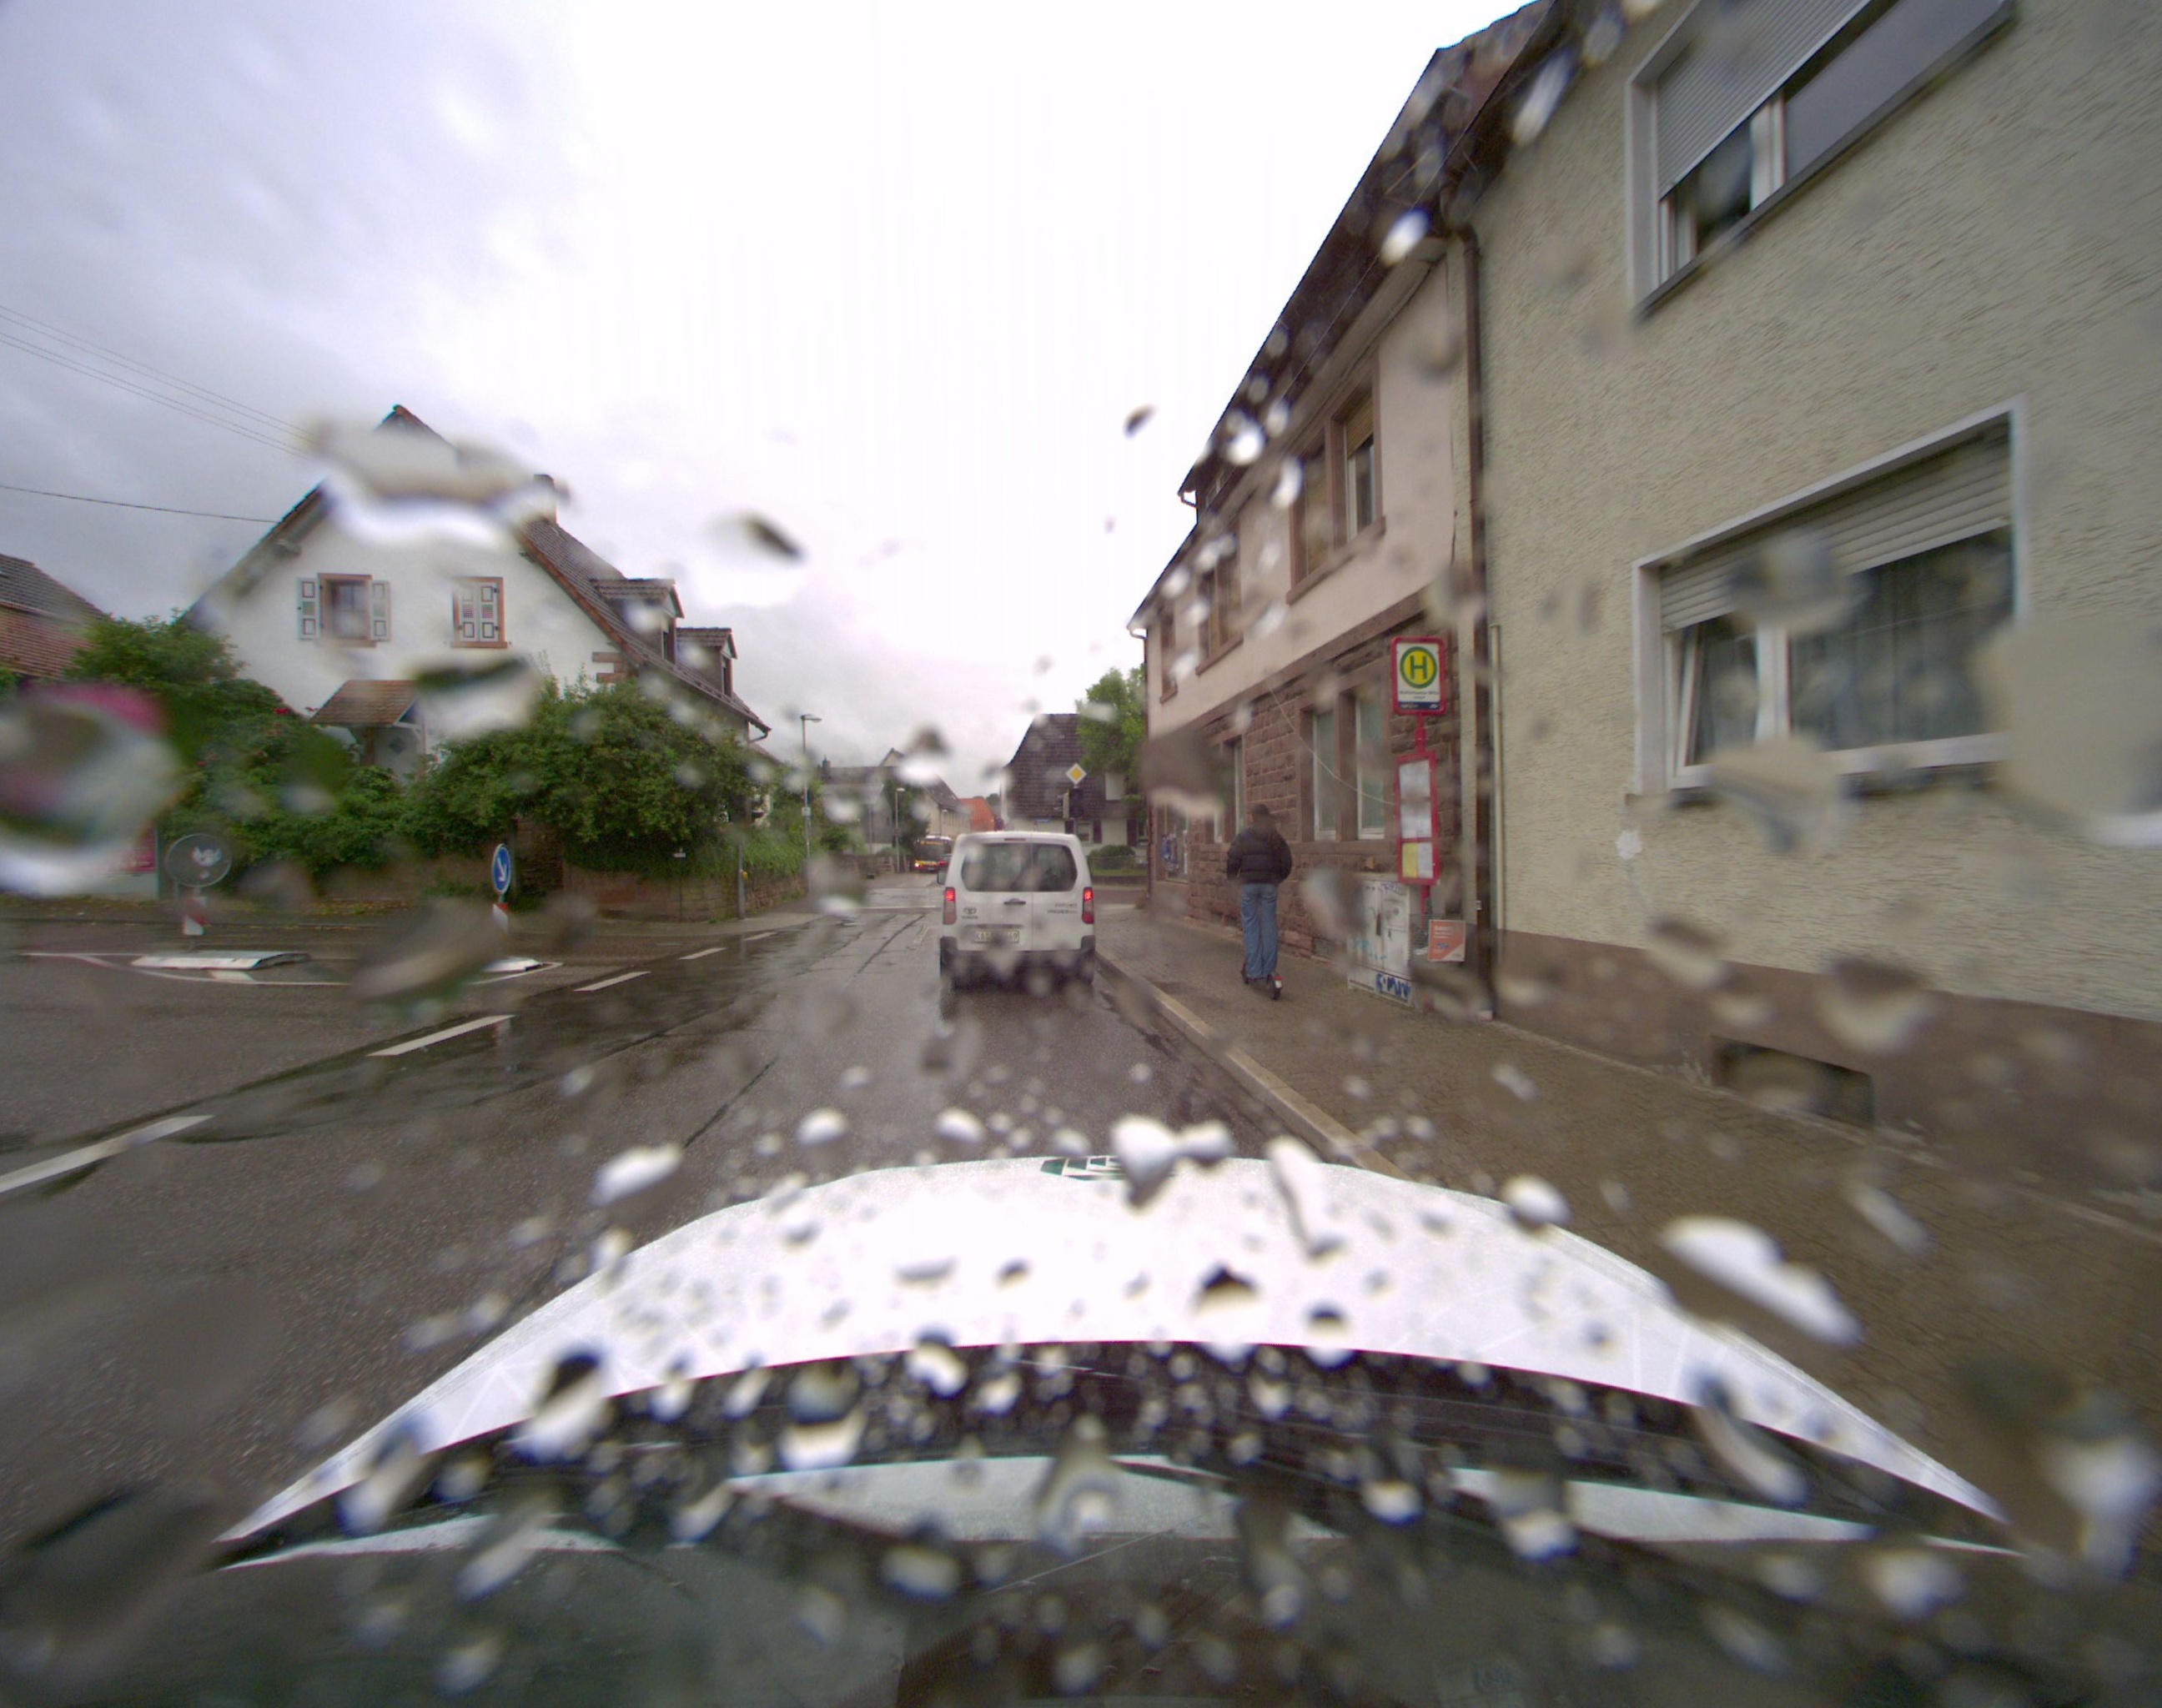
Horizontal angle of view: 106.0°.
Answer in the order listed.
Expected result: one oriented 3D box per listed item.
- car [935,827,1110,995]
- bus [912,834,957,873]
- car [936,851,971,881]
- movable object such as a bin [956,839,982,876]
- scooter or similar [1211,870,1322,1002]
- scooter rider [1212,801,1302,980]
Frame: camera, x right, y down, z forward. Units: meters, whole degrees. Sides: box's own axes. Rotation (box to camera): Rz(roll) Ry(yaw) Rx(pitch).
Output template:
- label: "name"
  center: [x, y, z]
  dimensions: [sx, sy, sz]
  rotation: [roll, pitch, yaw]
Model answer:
- label: "car"
  center: [-0.869, 0.601, 10.679]
  dimensions: [1.893, 1.794, 3.803]
  rotation: [0, 0, -8]
- label: "bus"
  center: [-12.325, -0.190, 69.382]
  dimensions: [2.645, 2.999, 12.171]
  rotation: [0, 2, -5]
- label: "car"
  center: [-7.081, 0.643, 45.472]
  dimensions: [1.808, 1.596, 3.746]
  rotation: [0, 0, -8]
- label: "movable object such as a bin"
  center: [-8.228, 0.230, 60.089]
  dimensions: [1.724, 2.653, 3.967]
  rotation: [0, 0, -5]
- label: "scooter or similar"
  center: [1.794, 0.753, 8.083]
  dimensions: [0.620, 1.127, 1.398]
  rotation: [-1, 1, -8]
- label: "scooter rider"
  center: [1.768, 0.354, 8.227]
  dimensions: [0.730, 1.733, 0.516]
  rotation: [-1, -1, -8]
